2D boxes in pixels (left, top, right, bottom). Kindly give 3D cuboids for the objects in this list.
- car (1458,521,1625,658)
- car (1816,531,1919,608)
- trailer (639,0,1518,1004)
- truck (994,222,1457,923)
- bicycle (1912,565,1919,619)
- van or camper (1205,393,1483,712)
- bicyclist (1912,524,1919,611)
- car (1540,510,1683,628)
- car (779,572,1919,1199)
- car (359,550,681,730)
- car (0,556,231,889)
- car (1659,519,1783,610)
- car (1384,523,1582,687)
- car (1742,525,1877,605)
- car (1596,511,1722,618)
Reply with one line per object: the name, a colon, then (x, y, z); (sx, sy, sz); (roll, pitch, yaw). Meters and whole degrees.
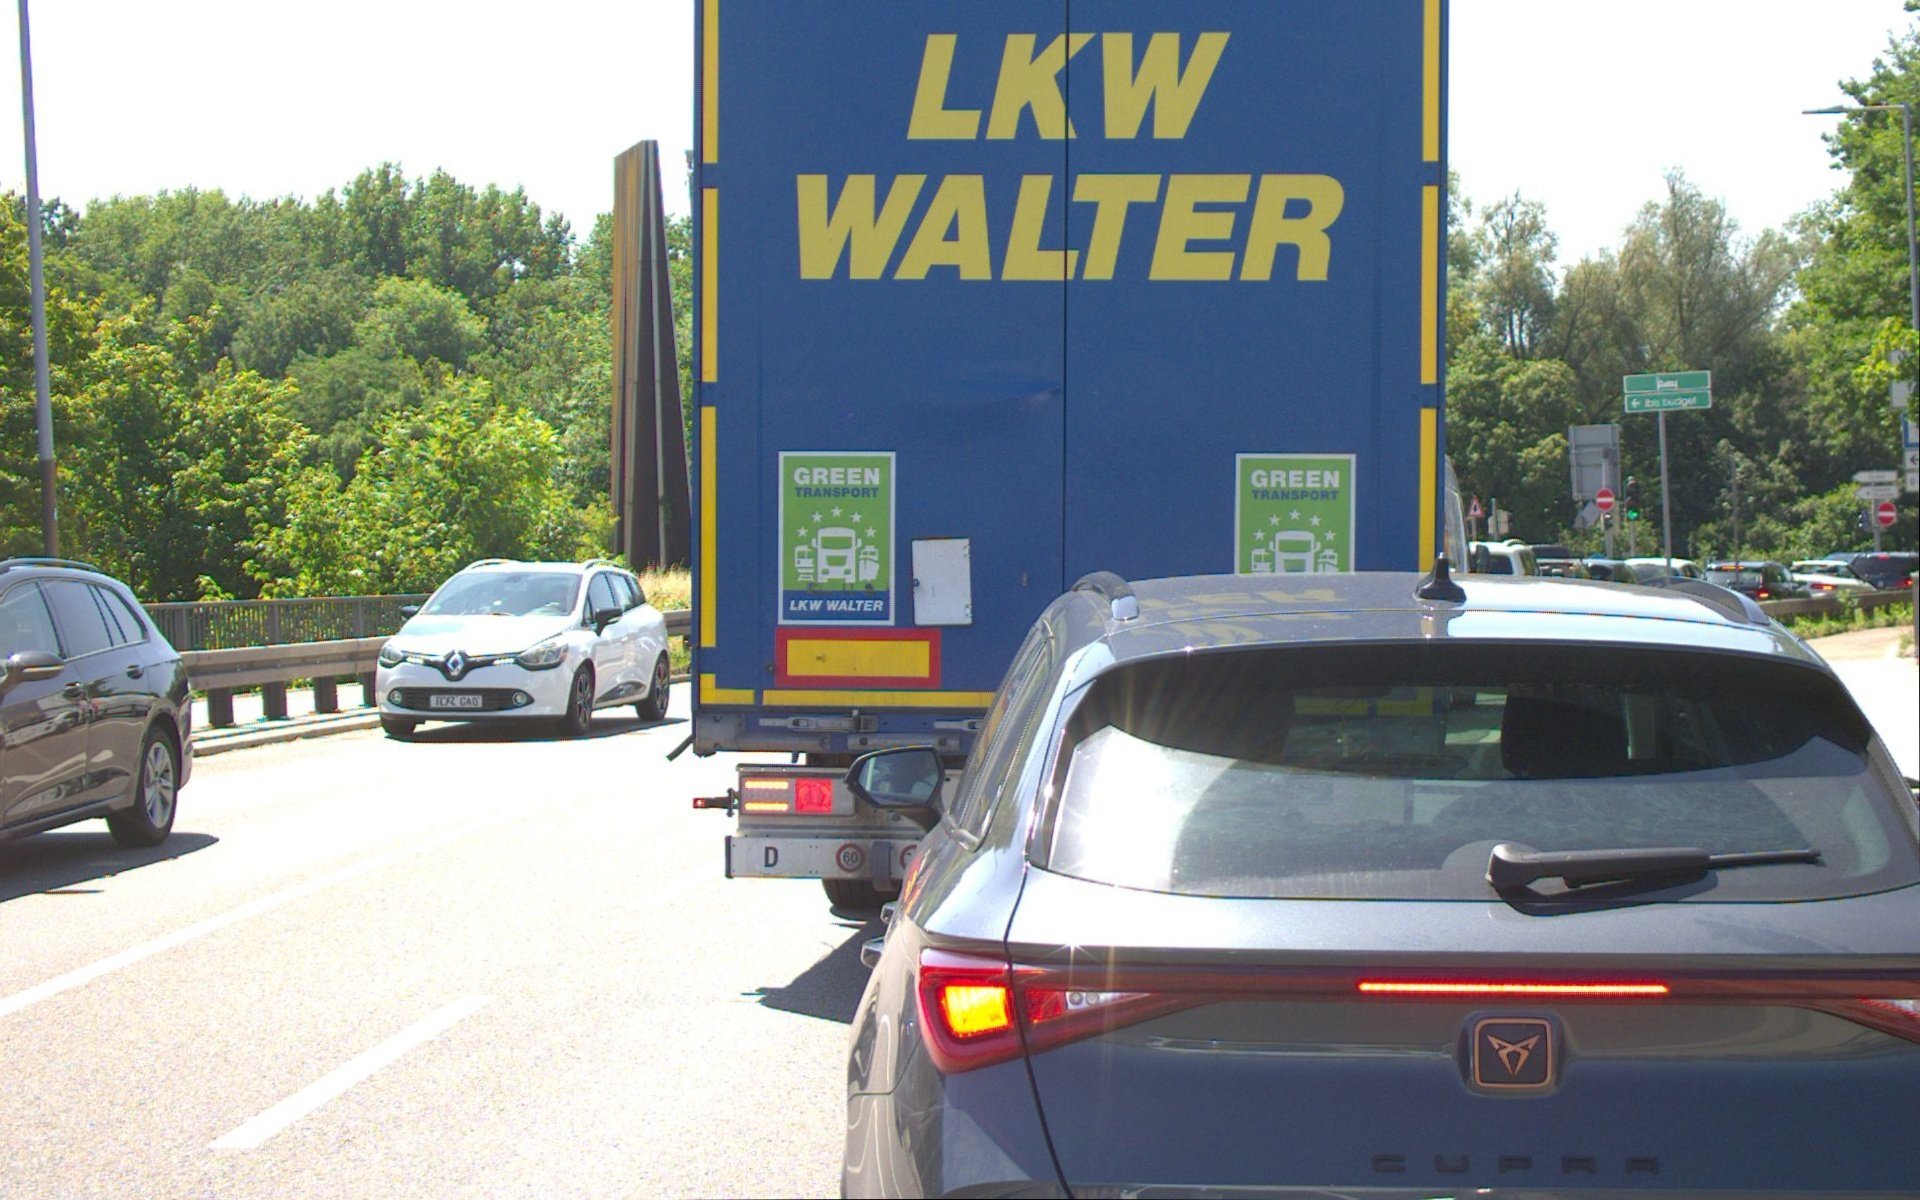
car: (8.044, -0.183, 47.308); (1.722, 1.796, 3.997); (0, 1, 18)
car: (21.359, -0.702, 80.358); (1.688, 1.754, 3.994); (0, 0, 28)
trailer: (1.143, -1.008, 17.552); (2.905, 4.403, 12.430); (0, 1, 7)
truck: (2.085, -0.241, 25.043); (2.905, 4.403, 6.554); (0, 1, 7)
bicycle: (18.779, -0.161, 66.374); (0.582, 1.032, 1.484); (-3, 0, 9)
van or camper: (3.871, -0.481, 33.608); (2.155, 2.806, 6.384); (0, 1, 11)
bicyclist: (18.759, -0.639, 66.363); (0.578, 1.677, 0.729); (-3, 0, 9)
car: (10.552, -0.523, 55.521); (1.722, 1.837, 3.996); (0, 1, 19)
car: (0.690, 0.691, 5.941); (1.677, 1.451, 3.958); (0, 1, 2)
car: (-3.717, 0.296, 29.743); (1.600, 1.444, 4.054); (0, 1, 10)
car: (-5.002, 0.535, 16.337); (1.710, 1.464, 4.459); (0, 1, 6)
car: (15.120, -0.690, 68.148); (1.687, 1.754, 3.995); (0, 0, 23)
car: (6.283, 0.012, 40.991); (1.722, 1.837, 3.997); (0, 2, 18)
car: (18.418, -0.737, 74.421); (1.996, 1.570, 3.994); (2, 0, 26)
car: (12.537, -0.656, 61.497); (1.722, 1.837, 3.996); (0, 1, 19)
